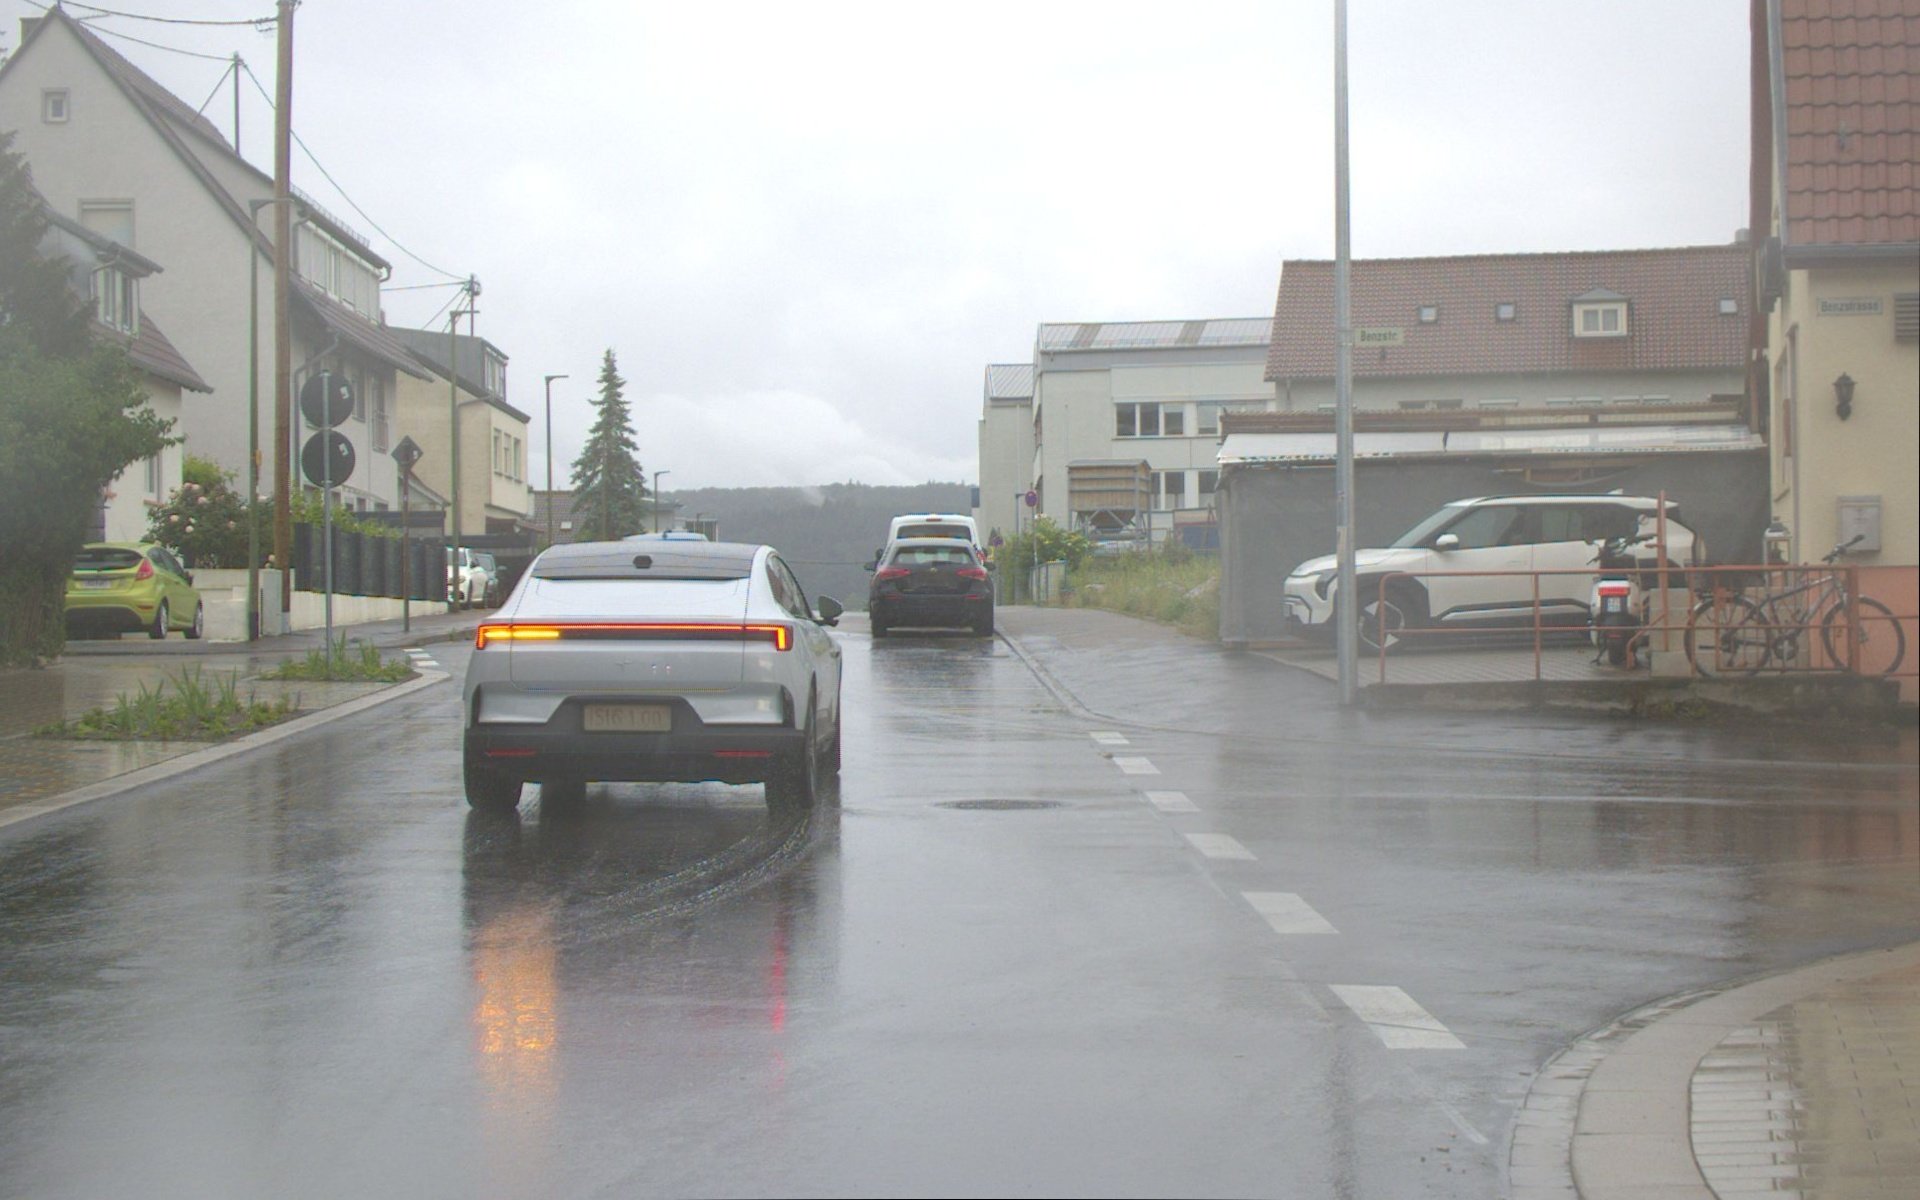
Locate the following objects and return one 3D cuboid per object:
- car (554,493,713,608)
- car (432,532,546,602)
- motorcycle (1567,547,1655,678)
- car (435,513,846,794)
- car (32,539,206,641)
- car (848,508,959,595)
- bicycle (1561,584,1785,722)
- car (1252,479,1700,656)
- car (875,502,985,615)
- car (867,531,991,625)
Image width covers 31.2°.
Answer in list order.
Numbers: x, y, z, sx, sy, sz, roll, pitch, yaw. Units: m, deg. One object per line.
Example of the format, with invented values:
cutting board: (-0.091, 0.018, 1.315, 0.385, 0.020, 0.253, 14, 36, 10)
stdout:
car: (-4.564, -0.689, 48.640, 1.929, 1.534, 4.321, 0, 1, -1)
car: (-10.930, -0.758, 80.026, 1.993, 1.505, 4.896, 3, 0, -1)
motorcycle: (5.742, 0.095, 30.384, 0.488, 1.092, 2.000, 0, 2, 3)
car: (-1.789, 0.264, 20.727, 1.993, 1.497, 4.670, 0, 1, 1)
car: (-12.510, -0.134, 51.330, 1.778, 1.462, 3.457, 0, 0, 0)
car: (-1.104, -0.905, 64.987, 1.642, 1.569, 4.644, 0, 1, -6)
bicycle: (5.817, 0.423, 28.050, 1.771, 1.092, 0.489, 0, 2, 13)
car: (5.253, -0.328, 35.350, 4.216, 1.604, 1.861, -2, 0, -2)
car: (-0.548, -0.699, 58.227, 1.768, 1.819, 4.575, 0, 1, -1)
car: (-0.493, -0.330, 51.431, 1.768, 1.331, 4.321, 0, 1, -1)
